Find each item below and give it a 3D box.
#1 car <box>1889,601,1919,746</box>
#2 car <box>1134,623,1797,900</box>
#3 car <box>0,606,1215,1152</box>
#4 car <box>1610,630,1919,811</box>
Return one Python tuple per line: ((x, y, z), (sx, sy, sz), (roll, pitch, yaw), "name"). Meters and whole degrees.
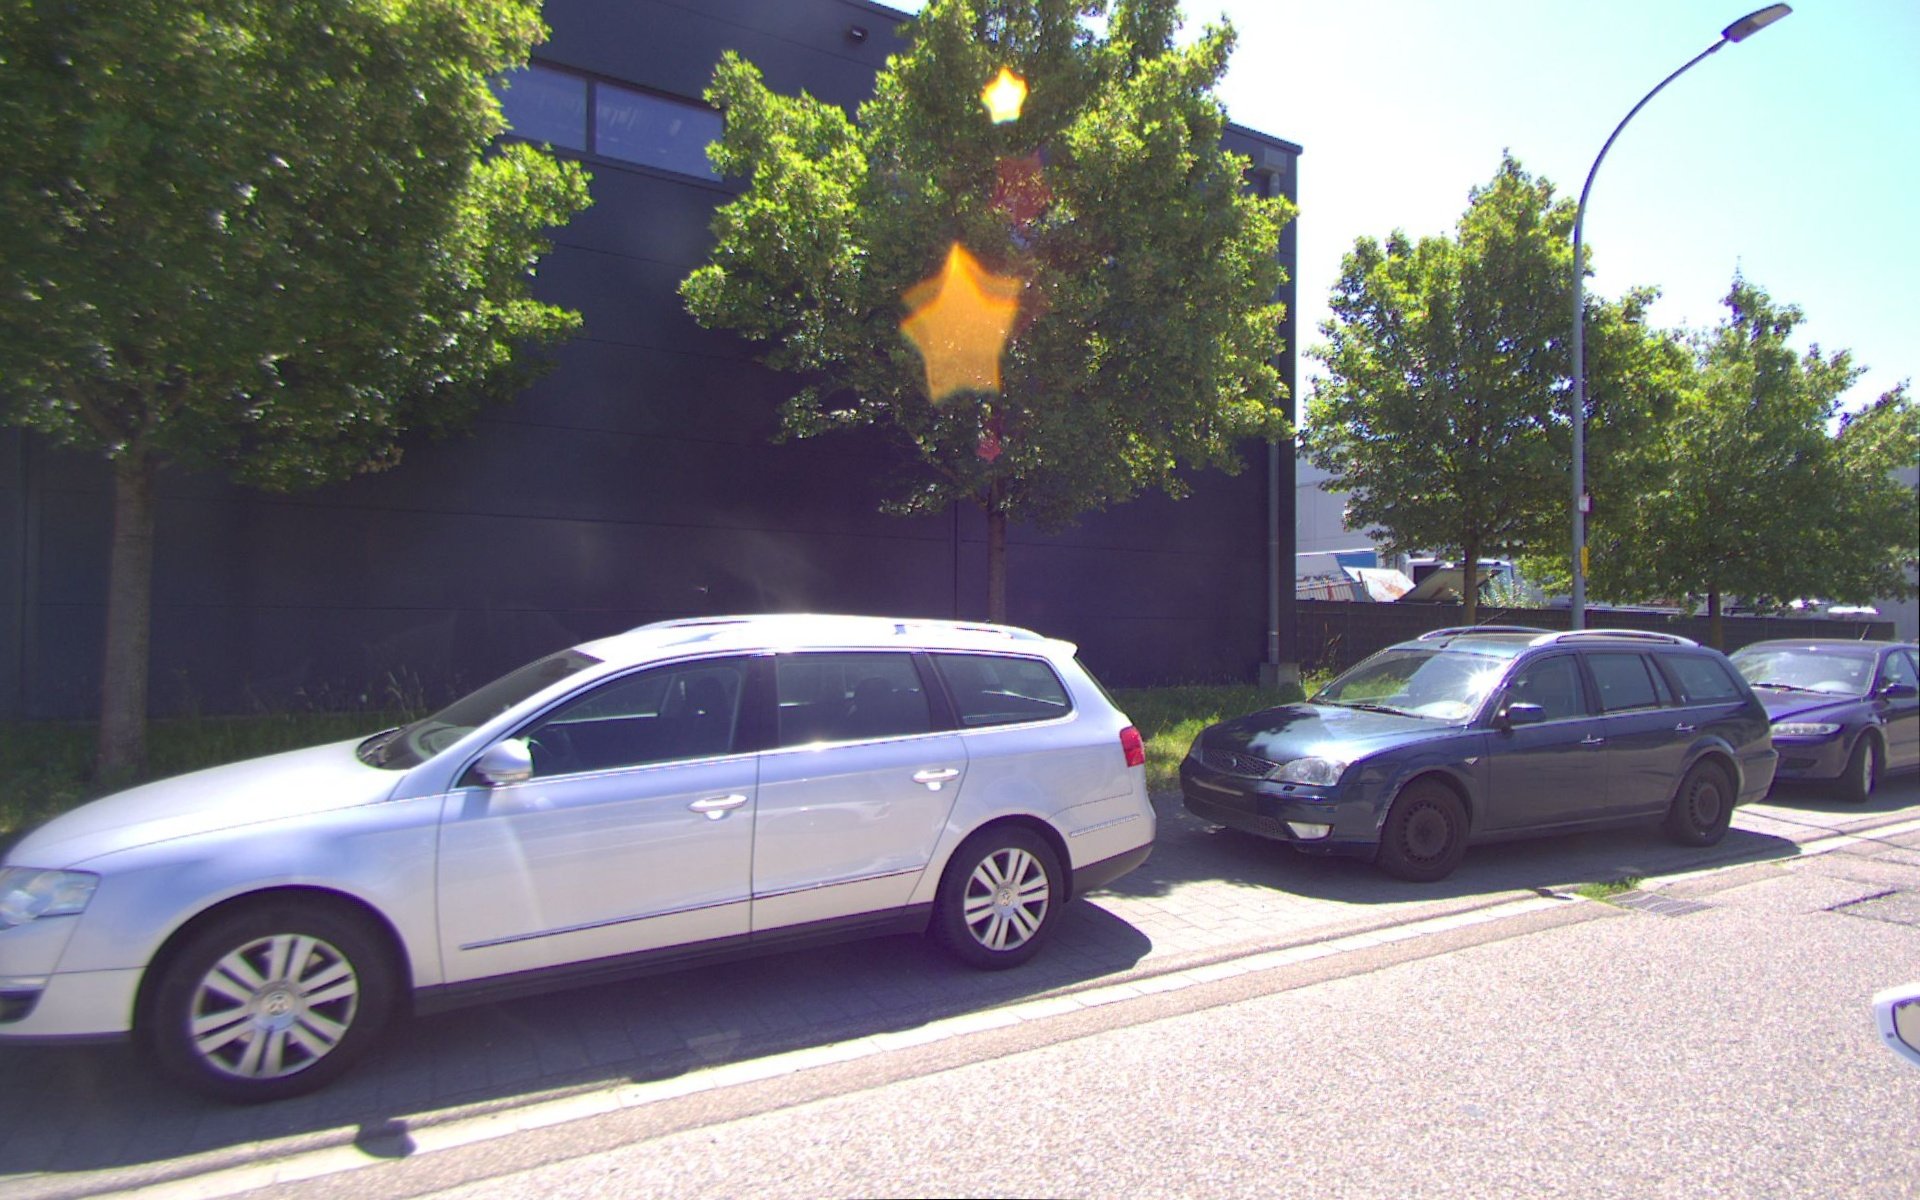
((14.349, 0.982, 13.337), (4.201, 1.838, 1.791), (1, -1, -30), "car")
((3.686, 0.954, 7.261), (4.572, 1.495, 1.795), (1, -1, -24), "car")
((-1.161, 0.820, 4.581), (4.498, 1.495, 1.792), (1, -1, -29), "car")
((8.929, 1.096, 10.428), (4.534, 1.495, 1.791), (1, -1, -30), "car")
